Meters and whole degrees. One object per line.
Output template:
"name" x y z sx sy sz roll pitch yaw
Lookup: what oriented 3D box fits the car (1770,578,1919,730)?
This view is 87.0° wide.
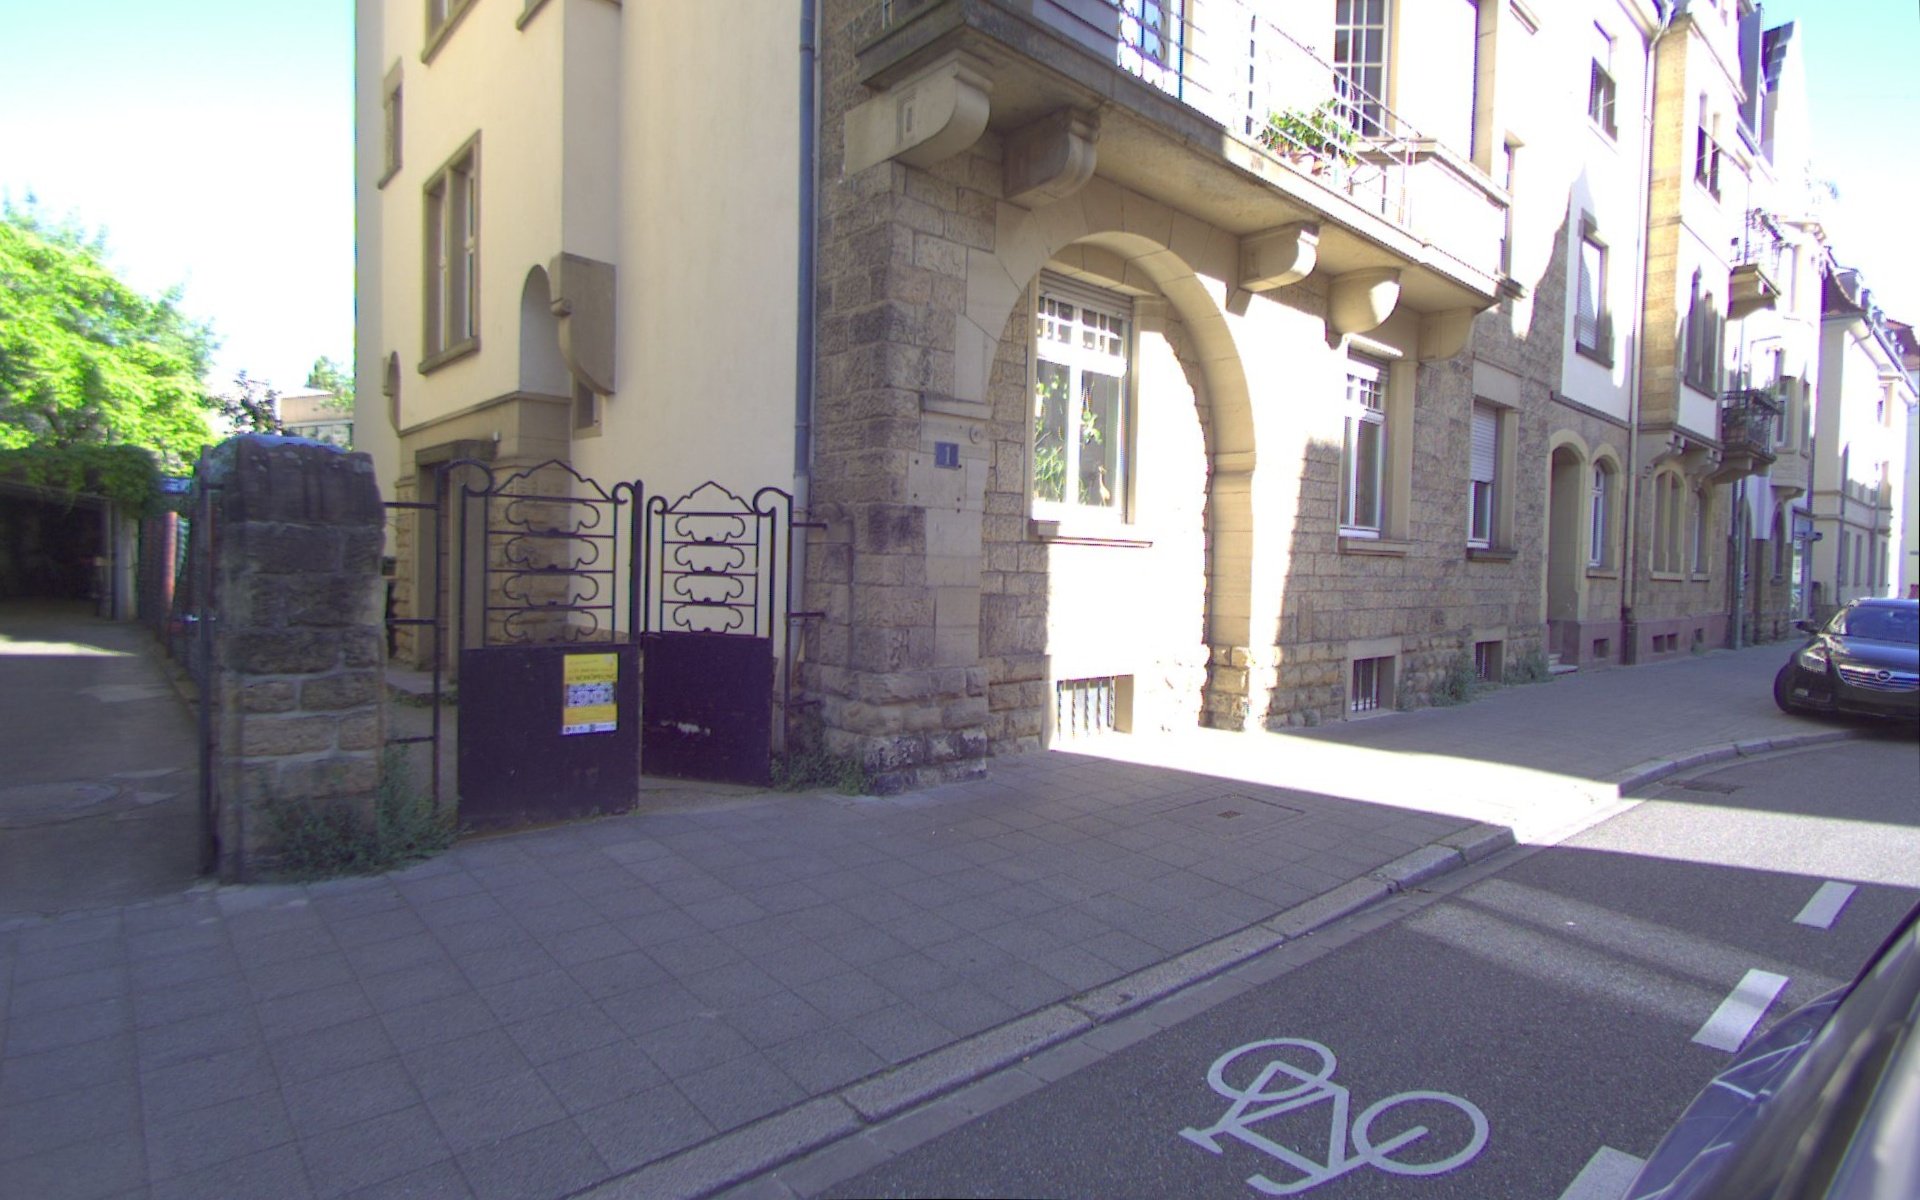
"car" 11.473 0.566 12.153 4.043 1.526 2.023 -1 5 -42

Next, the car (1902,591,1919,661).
"car" 22.175 0.577 22.193 4.247 1.440 1.823 -1 4 -42

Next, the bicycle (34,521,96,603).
"bicycle" -18.298 -0.810 20.724 0.903 1.530 2.672 0 4 -41

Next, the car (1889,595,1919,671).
"car" 18.798 0.614 18.972 3.667 1.295 1.659 -1 4 -42

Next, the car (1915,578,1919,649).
"car" 26.238 0.331 26.051 4.247 1.860 2.004 -1 4 -42

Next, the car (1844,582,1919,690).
"car" 15.535 0.562 15.868 4.247 1.527 2.004 0 3 -42
